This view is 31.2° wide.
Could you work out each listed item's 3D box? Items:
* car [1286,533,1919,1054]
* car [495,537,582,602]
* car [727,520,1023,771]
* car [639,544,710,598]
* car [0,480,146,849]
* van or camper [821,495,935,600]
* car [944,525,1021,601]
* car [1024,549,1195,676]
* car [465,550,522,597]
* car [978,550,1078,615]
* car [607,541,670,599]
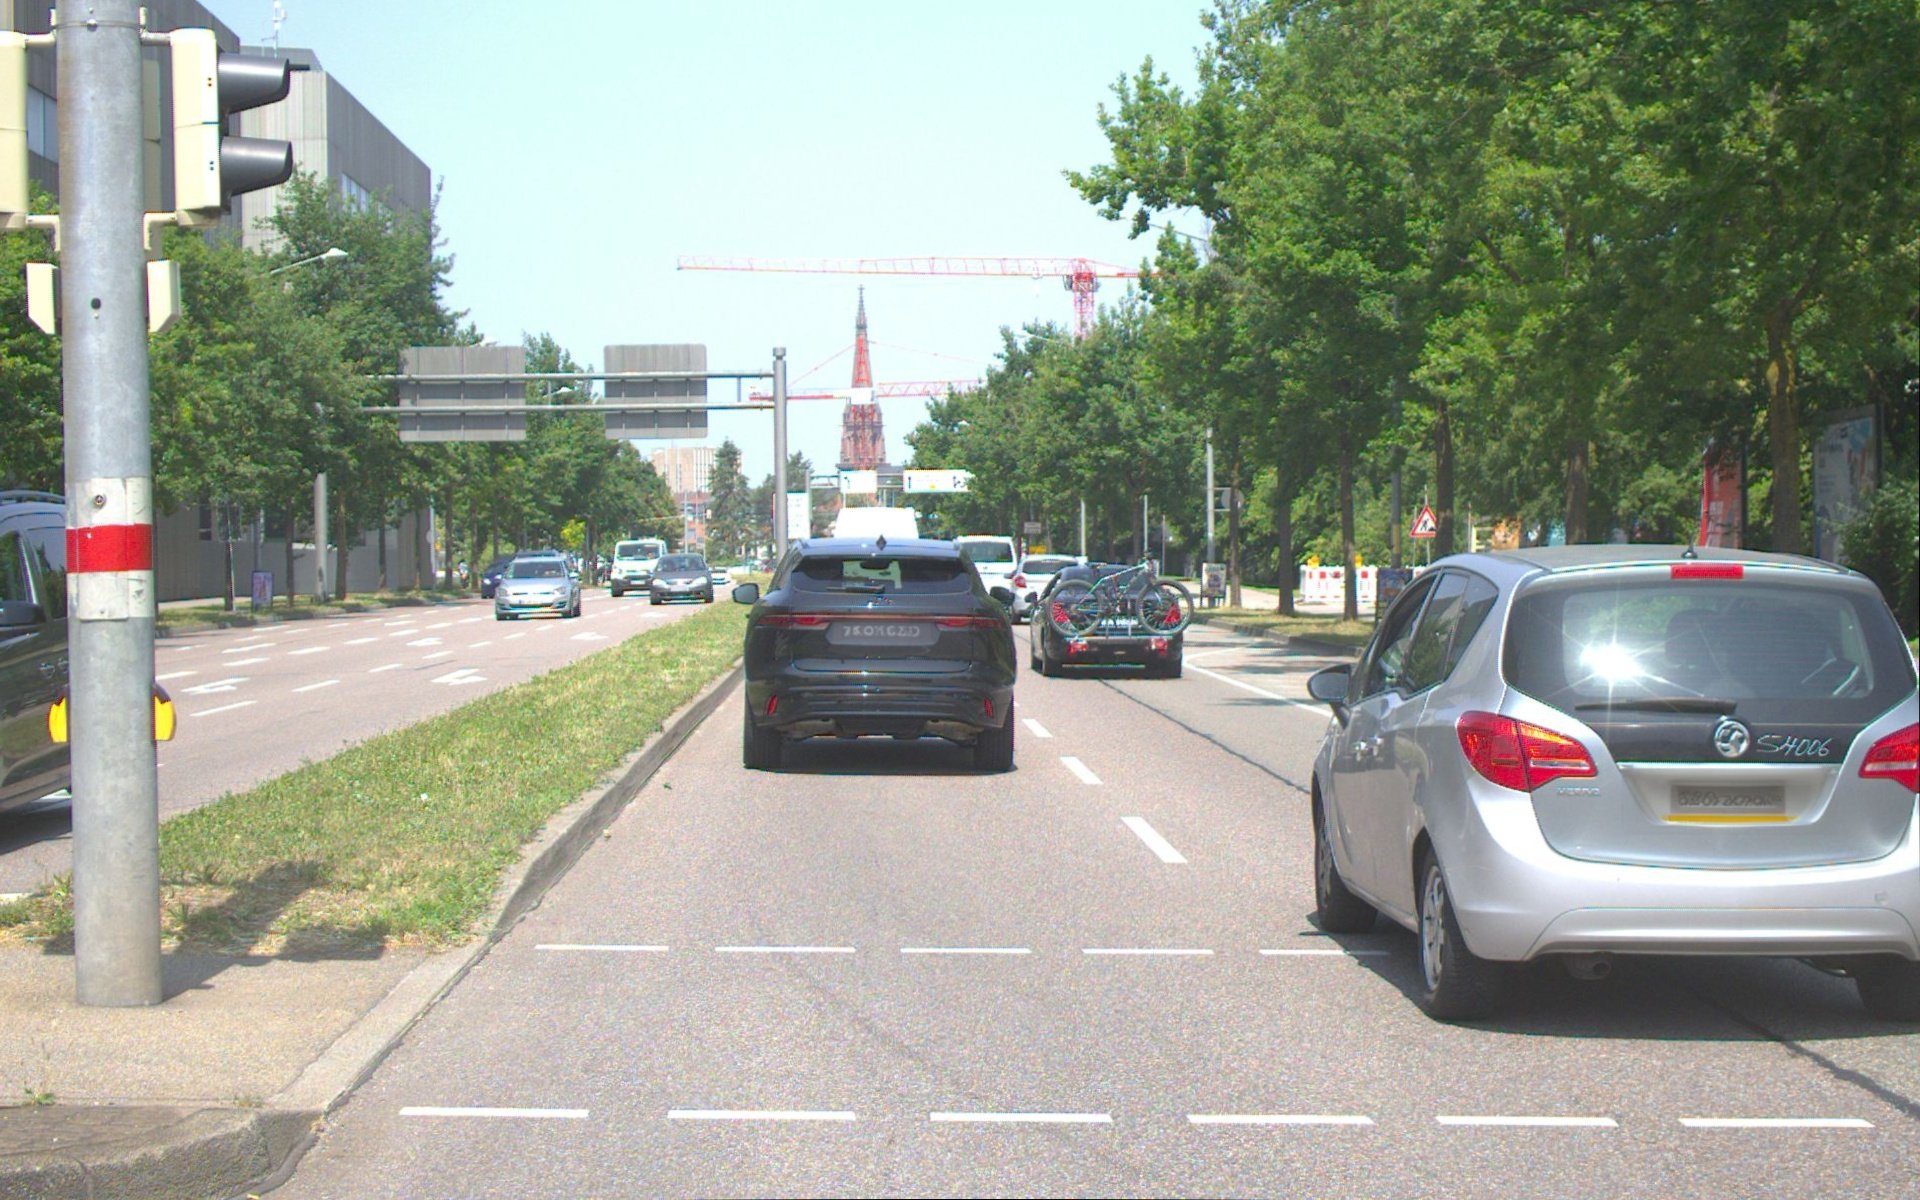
[{"bbox_3d":[2.328,0.566,12.630,1.792,1.606,3.891,0,1,-1],"label":"car"},{"bbox_3d":[-10.034,-0.747,82.093,1.765,1.455,4.146,-2,1,-3],"label":"car"},{"bbox_3d":[-0.586,0.278,25.409,1.998,1.684,4.034,1,1,0],"label":"car"},{"bbox_3d":[-8.216,-0.850,99.182,1.810,1.461,4.058,-2,1,-2],"label":"car"},{"bbox_3d":[-5.601,0.323,17.512,1.810,1.795,4.714,-2,1,-1],"label":"car"},{"bbox_3d":[-1.892,-1.180,78.454,2.493,2.283,4.921,-1,0,-2],"label":"van or camper"},{"bbox_3d":[0.589,-1.016,92.990,1.993,2.007,4.000,0,1,-1],"label":"car"},{"bbox_3d":[1.859,0.133,43.983,2.014,1.512,4.461,-1,0,0],"label":"car"},{"bbox_3d":[-18.097,-1.043,133.492,1.810,1.741,4.647,-2,1,-3],"label":"car"},{"bbox_3d":[1.445,-0.376,74.701,1.654,1.351,4.461,-1,0,-5],"label":"car"},{"bbox_3d":[-11.499,-1.097,123.393,1.909,1.986,4.898,-2,1,-2],"label":"car"}]
